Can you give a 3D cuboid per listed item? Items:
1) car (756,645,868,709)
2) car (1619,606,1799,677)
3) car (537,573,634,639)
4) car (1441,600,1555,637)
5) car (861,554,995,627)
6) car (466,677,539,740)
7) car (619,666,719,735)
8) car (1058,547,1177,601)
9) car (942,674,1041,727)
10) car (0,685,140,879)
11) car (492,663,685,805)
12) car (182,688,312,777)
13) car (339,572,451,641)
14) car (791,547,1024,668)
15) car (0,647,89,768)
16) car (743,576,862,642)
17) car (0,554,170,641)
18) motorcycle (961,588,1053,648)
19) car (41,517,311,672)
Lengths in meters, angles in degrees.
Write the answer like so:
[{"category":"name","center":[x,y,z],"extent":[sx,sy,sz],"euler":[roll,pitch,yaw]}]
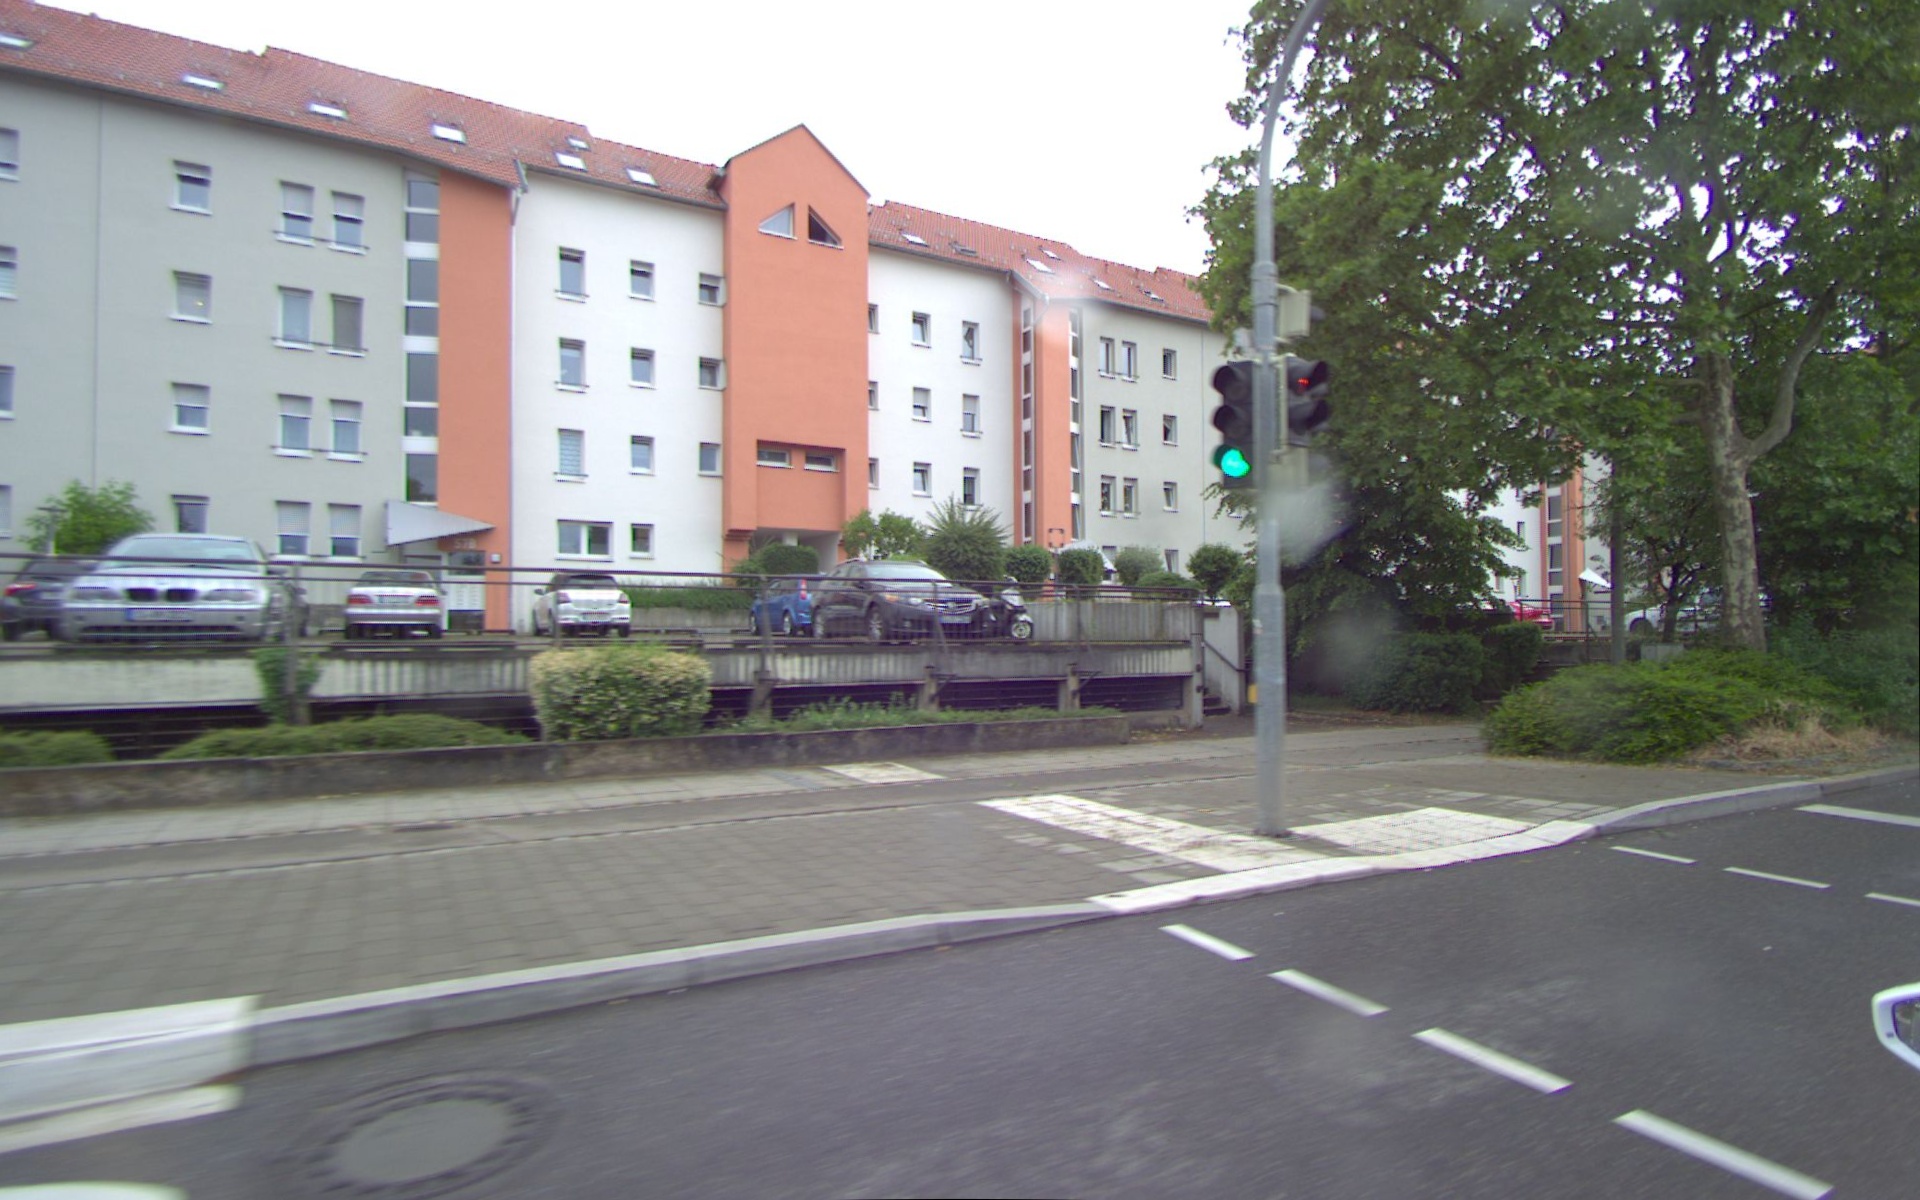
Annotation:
[{"category":"car","center":[-4.188,2.113,28.012],"extent":[1.699,1.531,3.790],"euler":[3,-2,-31]},{"category":"car","center":[23.046,1.231,31.058],"extent":[1.700,2.040,4.145],"euler":[1,-1,-32]},{"category":"car","center":[-8.910,0.171,23.740],"extent":[1.697,1.407,3.504],"euler":[1,-1,-28]},{"category":"car","center":[22.538,0.798,42.194],"extent":[1.646,1.450,3.968],"euler":[1,-2,-30]},{"category":"car","center":[-0.890,-0.211,25.456],"extent":[1.699,1.622,3.789],"euler":[3,-1,-31]},{"category":"car","center":[-10.165,2.354,22.252],"extent":[1.359,1.097,3.187],"euler":[1,-2,-26]},{"category":"car","center":[-7.305,2.432,25.011],"extent":[1.697,1.422,3.504],"euler":[1,-2,-28]},{"category":"car","center":[4.623,-0.724,29.915],"extent":[1.526,1.412,3.579],"euler":[3,-2,-31]},{"category":"car","center":[0.976,3.277,33.136],"extent":[1.526,1.412,3.579],"euler":[3,-2,-31]},{"category":"car","center":[-10.717,1.933,11.323],"extent":[1.685,1.719,3.493],"euler":[1,-2,-30]},{"category":"car","center":[-5.431,1.763,14.318],"extent":[1.838,1.443,4.335],"euler":[3,-2,-30]},{"category":"car","center":[-14.842,2.699,21.081],"extent":[1.697,1.422,3.504],"euler":[3,-1,-28]},{"category":"car","center":[-11.768,0.143,21.145],"extent":[1.773,1.312,3.974],"euler":[1,-1,-26]},{"category":"car","center":[-1.035,0.141,16.770],"extent":[1.977,1.694,4.522],"euler":[3,-2,-30]},{"category":"car","center":[-18.769,1.989,19.462],"extent":[1.917,2.040,3.893],"euler":[1,-1,-27]},{"category":"car","center":[-4.175,0.221,26.164],"extent":[1.699,1.531,3.789],"euler":[3,-2,-31]},{"category":"car","center":[-16.371,-0.024,18.890],"extent":[1.697,1.422,3.504],"euler":[3,-1,-28]},{"category":"motorcycle","center":[0.751,0.288,16.752],"extent":[0.562,0.925,1.943],"euler":[3,-1,-29]},{"category":"car","center":[-8.954,-0.020,11.885],"extent":[1.838,1.443,4.335],"euler":[3,-2,-30]}]
